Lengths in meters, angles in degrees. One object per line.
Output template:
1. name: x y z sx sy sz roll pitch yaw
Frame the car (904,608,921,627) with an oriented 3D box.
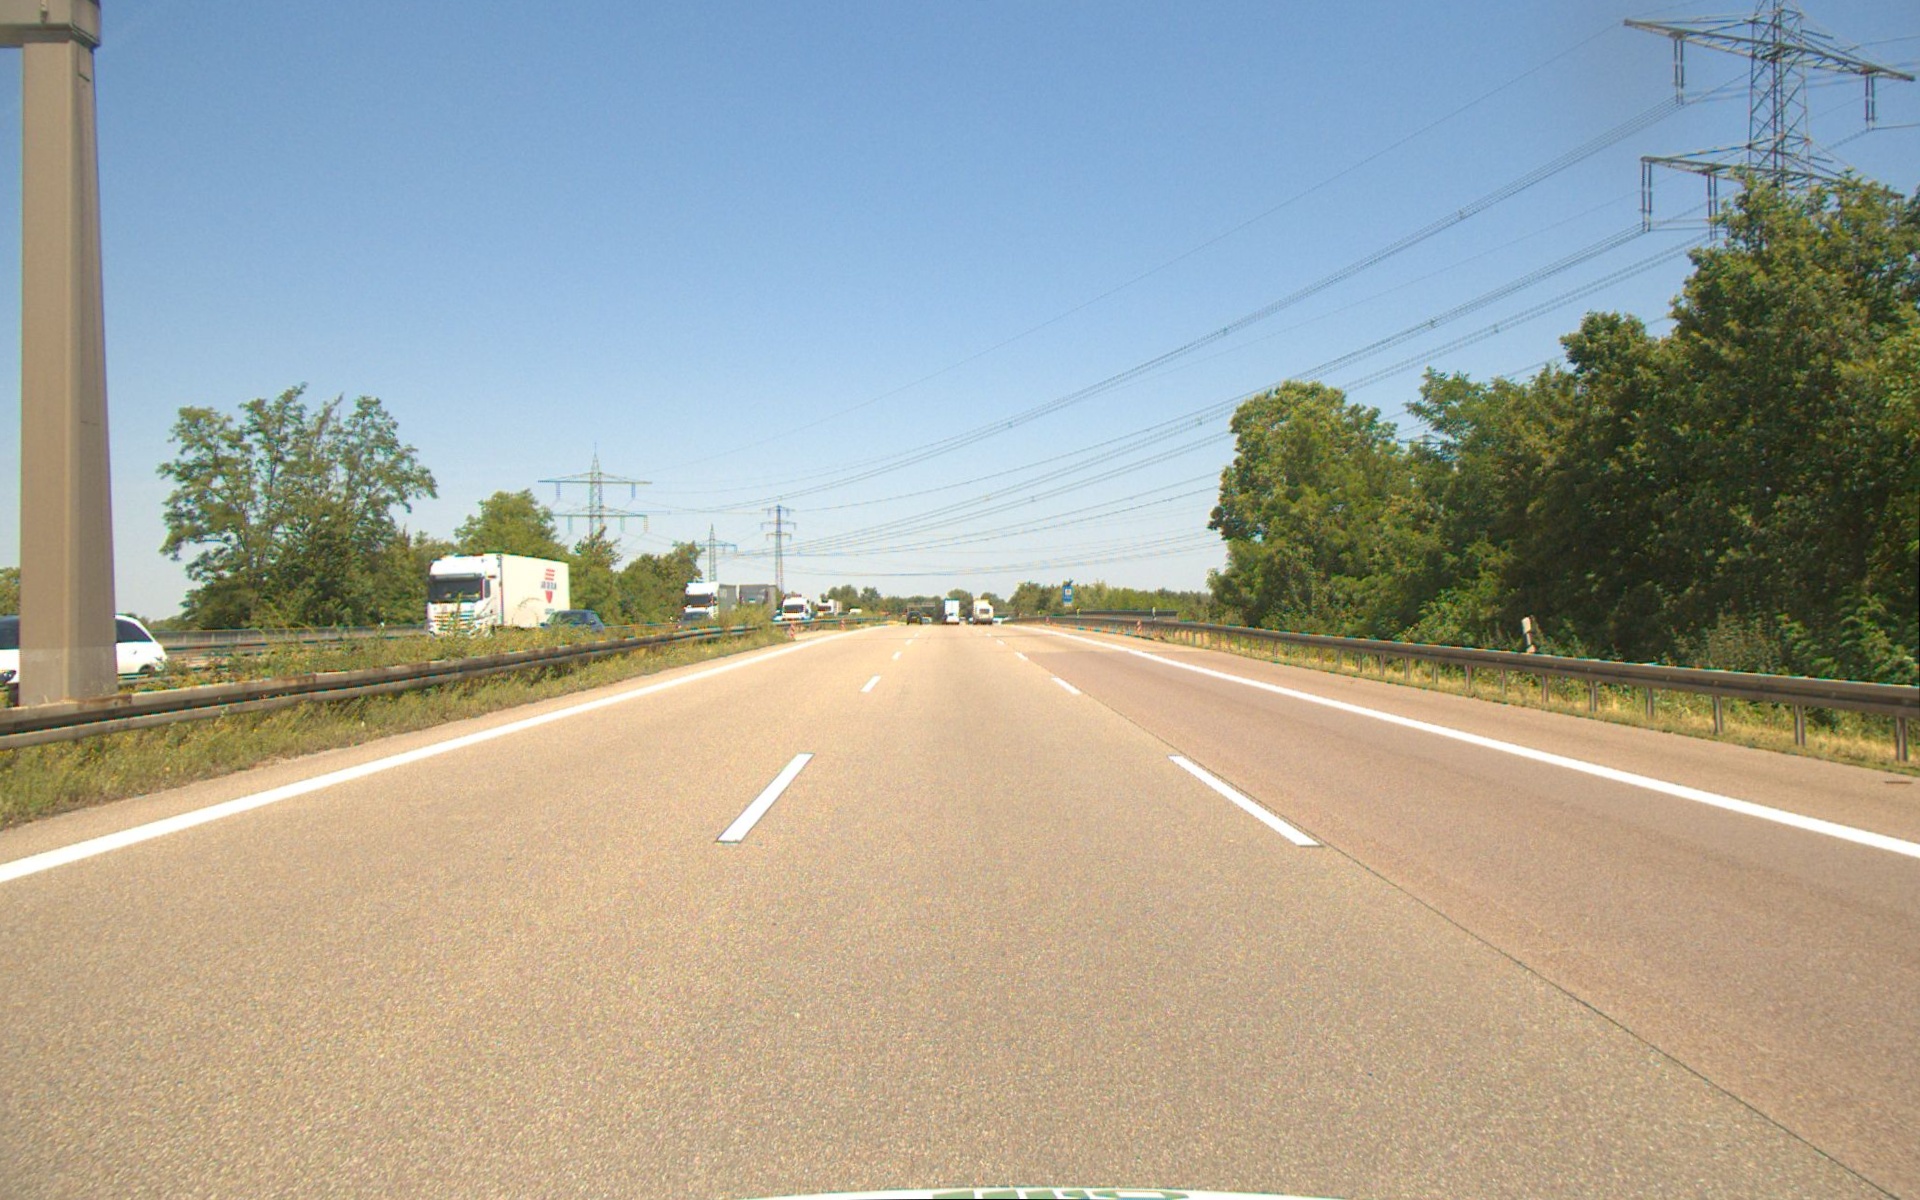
1. car: -5.341 1.992 187.099 1.755 2.049 3.887 0 0 0

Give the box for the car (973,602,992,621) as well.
1. car: 2.503 1.256 182.942 1.953 2.049 3.999 -1 0 -1

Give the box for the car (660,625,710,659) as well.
1. car: -14.287 2.160 86.127 1.953 1.680 3.999 -1 0 -1

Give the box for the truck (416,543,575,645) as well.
1. truck: -21.132 -0.231 76.732 2.901 4.162 17.023 -1 0 -1

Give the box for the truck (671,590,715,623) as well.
1. truck: -21.051 0.494 131.029 2.451 2.507 12.281 -1 0 -5

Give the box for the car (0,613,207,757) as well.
1. car: -12.771 1.107 23.386 1.953 1.764 5.074 -1 0 -1

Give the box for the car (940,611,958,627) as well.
1. car: -1.439 2.518 221.914 2.132 1.963 4.613 -1 0 3
